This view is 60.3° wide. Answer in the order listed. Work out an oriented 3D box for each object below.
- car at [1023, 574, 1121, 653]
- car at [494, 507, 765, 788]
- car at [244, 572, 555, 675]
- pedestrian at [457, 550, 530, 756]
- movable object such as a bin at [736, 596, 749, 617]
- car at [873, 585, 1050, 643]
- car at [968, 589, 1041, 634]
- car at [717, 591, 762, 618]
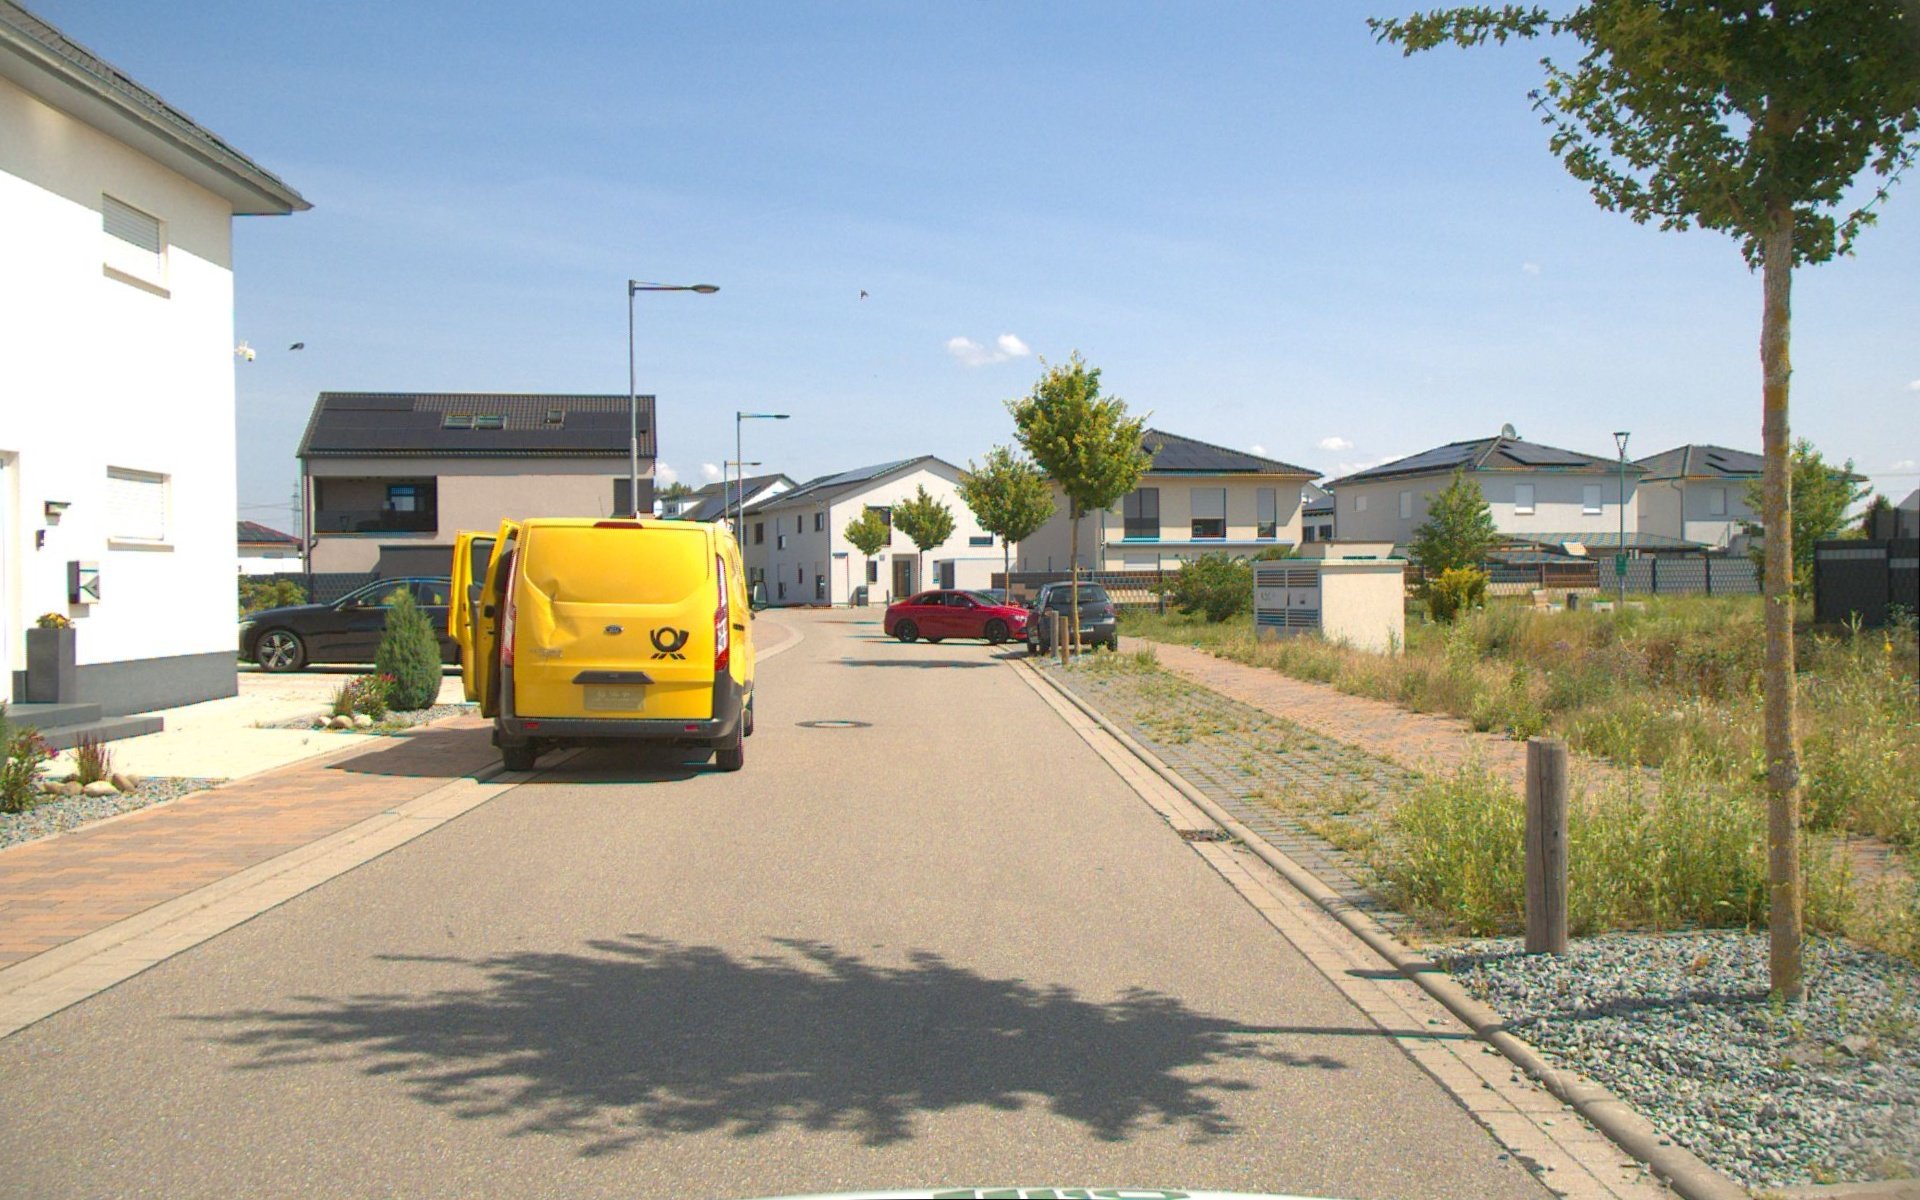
[{"bbox_3d":[2.307,0.244,34.816,1.566,1.500,3.673,-2,1,-3],"label":"car"},{"bbox_3d":[-2.782,0.341,14.960,1.848,2.048,4.835,-2,0,-6],"label":"car"},{"bbox_3d":[-8.397,0.338,25.137,4.320,1.477,1.742,0,0,-15],"label":"car"},{"bbox_3d":[-4.095,0.455,14.545,0.521,1.768,0.569,1,0,-8],"label":"pedestrian"},{"bbox_3d":[-9.917,0.288,75.534,0.524,0.952,0.526,1,0,-1],"label":"movable object such as a bin"},{"bbox_3d":[0.033,0.354,44.195,4.417,1.463,1.766,1,0,27],"label":"car"},{"bbox_3d":[1.401,0.335,53.810,1.721,1.387,4.569,0,0,-7],"label":"car"},{"bbox_3d":[-12.726,0.242,95.225,1.702,1.447,3.974,-2,1,-21],"label":"car"}]
